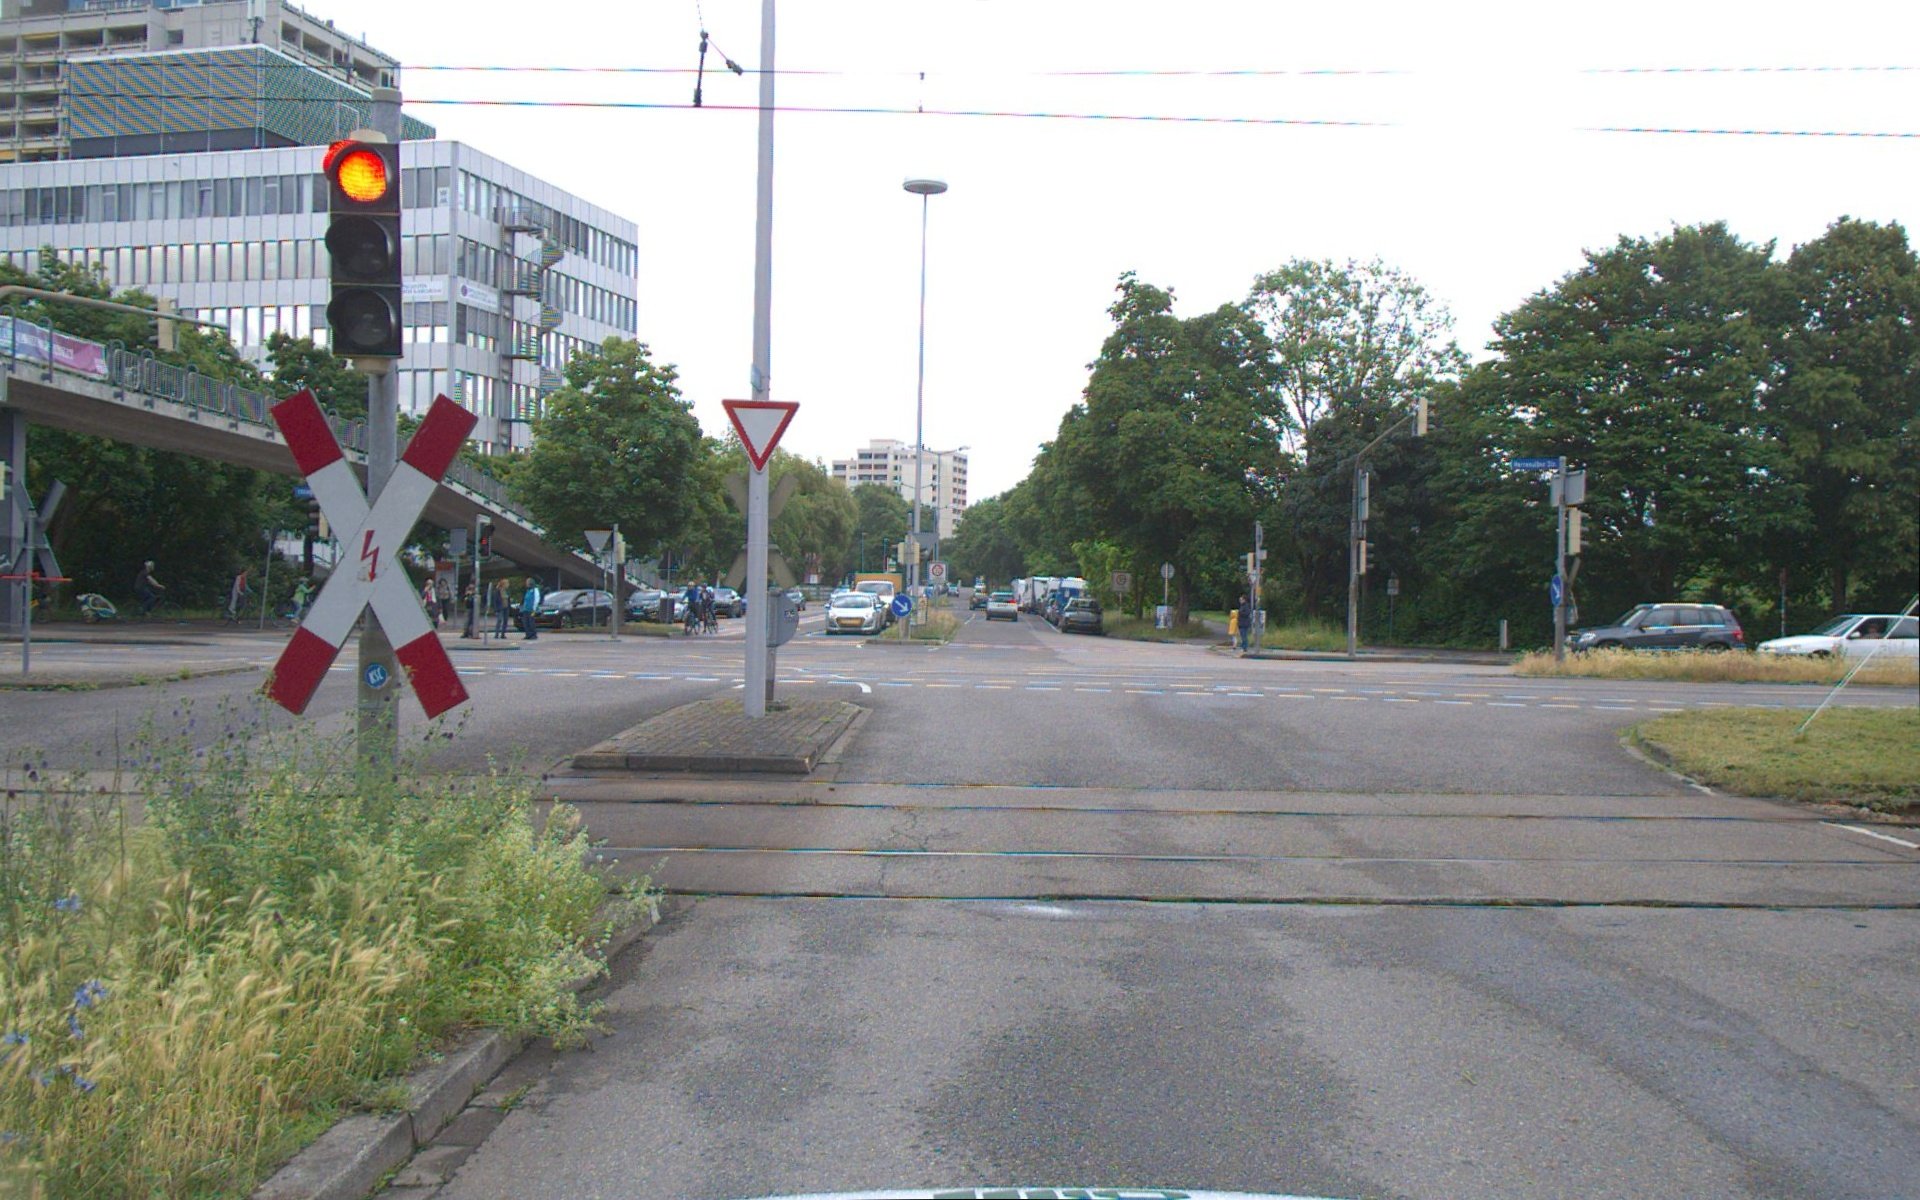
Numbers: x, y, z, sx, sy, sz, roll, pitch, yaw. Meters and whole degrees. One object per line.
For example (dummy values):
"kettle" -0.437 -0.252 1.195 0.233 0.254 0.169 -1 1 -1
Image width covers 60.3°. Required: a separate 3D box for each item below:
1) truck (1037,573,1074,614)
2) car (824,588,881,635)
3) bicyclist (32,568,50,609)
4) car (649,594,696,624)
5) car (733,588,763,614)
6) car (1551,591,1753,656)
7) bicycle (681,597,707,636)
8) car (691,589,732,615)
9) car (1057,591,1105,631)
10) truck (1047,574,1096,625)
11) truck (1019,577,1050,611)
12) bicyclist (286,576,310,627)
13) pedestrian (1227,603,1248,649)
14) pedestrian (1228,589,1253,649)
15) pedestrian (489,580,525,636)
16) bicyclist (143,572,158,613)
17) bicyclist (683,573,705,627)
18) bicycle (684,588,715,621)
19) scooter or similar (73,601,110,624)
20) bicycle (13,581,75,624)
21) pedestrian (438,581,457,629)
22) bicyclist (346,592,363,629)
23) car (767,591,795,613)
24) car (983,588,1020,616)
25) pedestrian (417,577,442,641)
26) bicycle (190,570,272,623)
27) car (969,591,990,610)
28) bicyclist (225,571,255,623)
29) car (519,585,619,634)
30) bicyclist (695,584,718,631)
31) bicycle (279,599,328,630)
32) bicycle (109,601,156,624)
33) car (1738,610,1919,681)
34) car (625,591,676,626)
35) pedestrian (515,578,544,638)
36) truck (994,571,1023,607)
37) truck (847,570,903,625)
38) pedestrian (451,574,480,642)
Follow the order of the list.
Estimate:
"truck" 6.912 -0.481 120.167 1.954 2.888 5.726 1 0 -4
"car" -3.727 0.383 57.796 1.753 1.545 4.325 1 0 -1
"bicyclist" -28.866 -0.371 51.968 0.397 1.275 0.277 1 0 -1
"car" -14.372 0.423 82.907 1.637 1.411 3.895 1 0 0
"car" -13.424 0.053 104.922 1.415 1.579 3.663 1 0 -1
"car" 17.553 0.587 42.082 4.373 1.530 1.846 1 0 0
"bicycle" -8.956 0.545 55.667 0.532 1.289 2.110 1 0 -1
"car" -14.156 0.104 94.340 1.727 1.419 3.999 1 0 -1
"car" 5.394 0.461 73.995 1.747 1.691 3.999 1 0 -1
"truck" 6.079 -0.005 90.805 2.130 2.703 6.245 0 0 -1
"truck" 5.953 -0.440 132.225 1.954 2.618 5.375 1 0 -3
"bicyclist" -21.706 0.049 54.255 0.553 1.673 0.531 1 -1 0
"pedestrian" 8.387 0.784 49.999 0.516 1.365 0.525 1 0 -1
"pedestrian" 8.367 0.566 49.389 0.643 1.780 0.459 1 0 -1
"pedestrian" -12.524 0.214 45.715 0.901 1.537 0.403 1 0 -12
"bicyclist" -25.916 -0.238 52.969 0.380 1.326 0.275 1 0 -38
"bicyclist" -8.956 -0.007 55.705 0.631 1.799 0.646 1 0 -1
"bicycle" -9.047 0.149 57.530 0.712 1.120 2.264 1 0 -1
"scooter or similar" -27.280 0.395 51.974 0.986 0.727 0.401 1 0 -36
"bicycle" -28.799 0.082 51.999 1.670 1.327 0.389 1 0 -3
"pedestrian" -17.419 0.153 56.244 0.570 1.607 0.777 1 0 -19
"bicyclist" -19.810 0.343 54.115 0.396 1.202 0.377 1 1 1
"car" -13.578 0.150 125.690 1.637 1.579 4.000 1 0 0
"car" 2.415 0.105 96.907 1.979 1.531 3.999 1 0 -1
"pedestrian" -14.539 0.249 45.346 0.608 1.721 0.404 1 0 -15
"bicycle" -23.470 -0.104 53.270 2.313 1.653 0.527 1 0 -7
"car" 1.625 0.000 138.364 1.523 1.531 3.998 1 0 -2
"bicyclist" -23.209 -0.099 53.320 0.733 1.653 0.527 1 0 -7
"car" -13.406 0.303 56.918 1.636 1.579 4.003 1 0 14
"bicyclist" -8.944 0.269 58.395 0.665 1.622 0.695 1 -1 -1
"bicycle" -21.471 0.463 54.134 0.618 0.941 2.523 1 1 -1
"bicycle" -26.357 0.404 52.682 1.283 0.704 0.286 1 0 -37
"car" 18.688 0.943 34.568 4.052 1.381 1.647 1 0 0
"car" -14.455 0.380 77.410 1.637 1.579 3.892 1 0 0
"pedestrian" -11.877 0.226 45.649 0.673 1.633 0.487 1 0 -5
"truck" 4.178 -0.911 142.992 1.954 3.061 5.767 1 0 -4
"truck" -3.645 -0.137 71.795 2.111 2.237 5.840 1 0 0
"pedestrian" -13.637 0.211 45.600 0.625 1.835 0.800 1 0 -10
